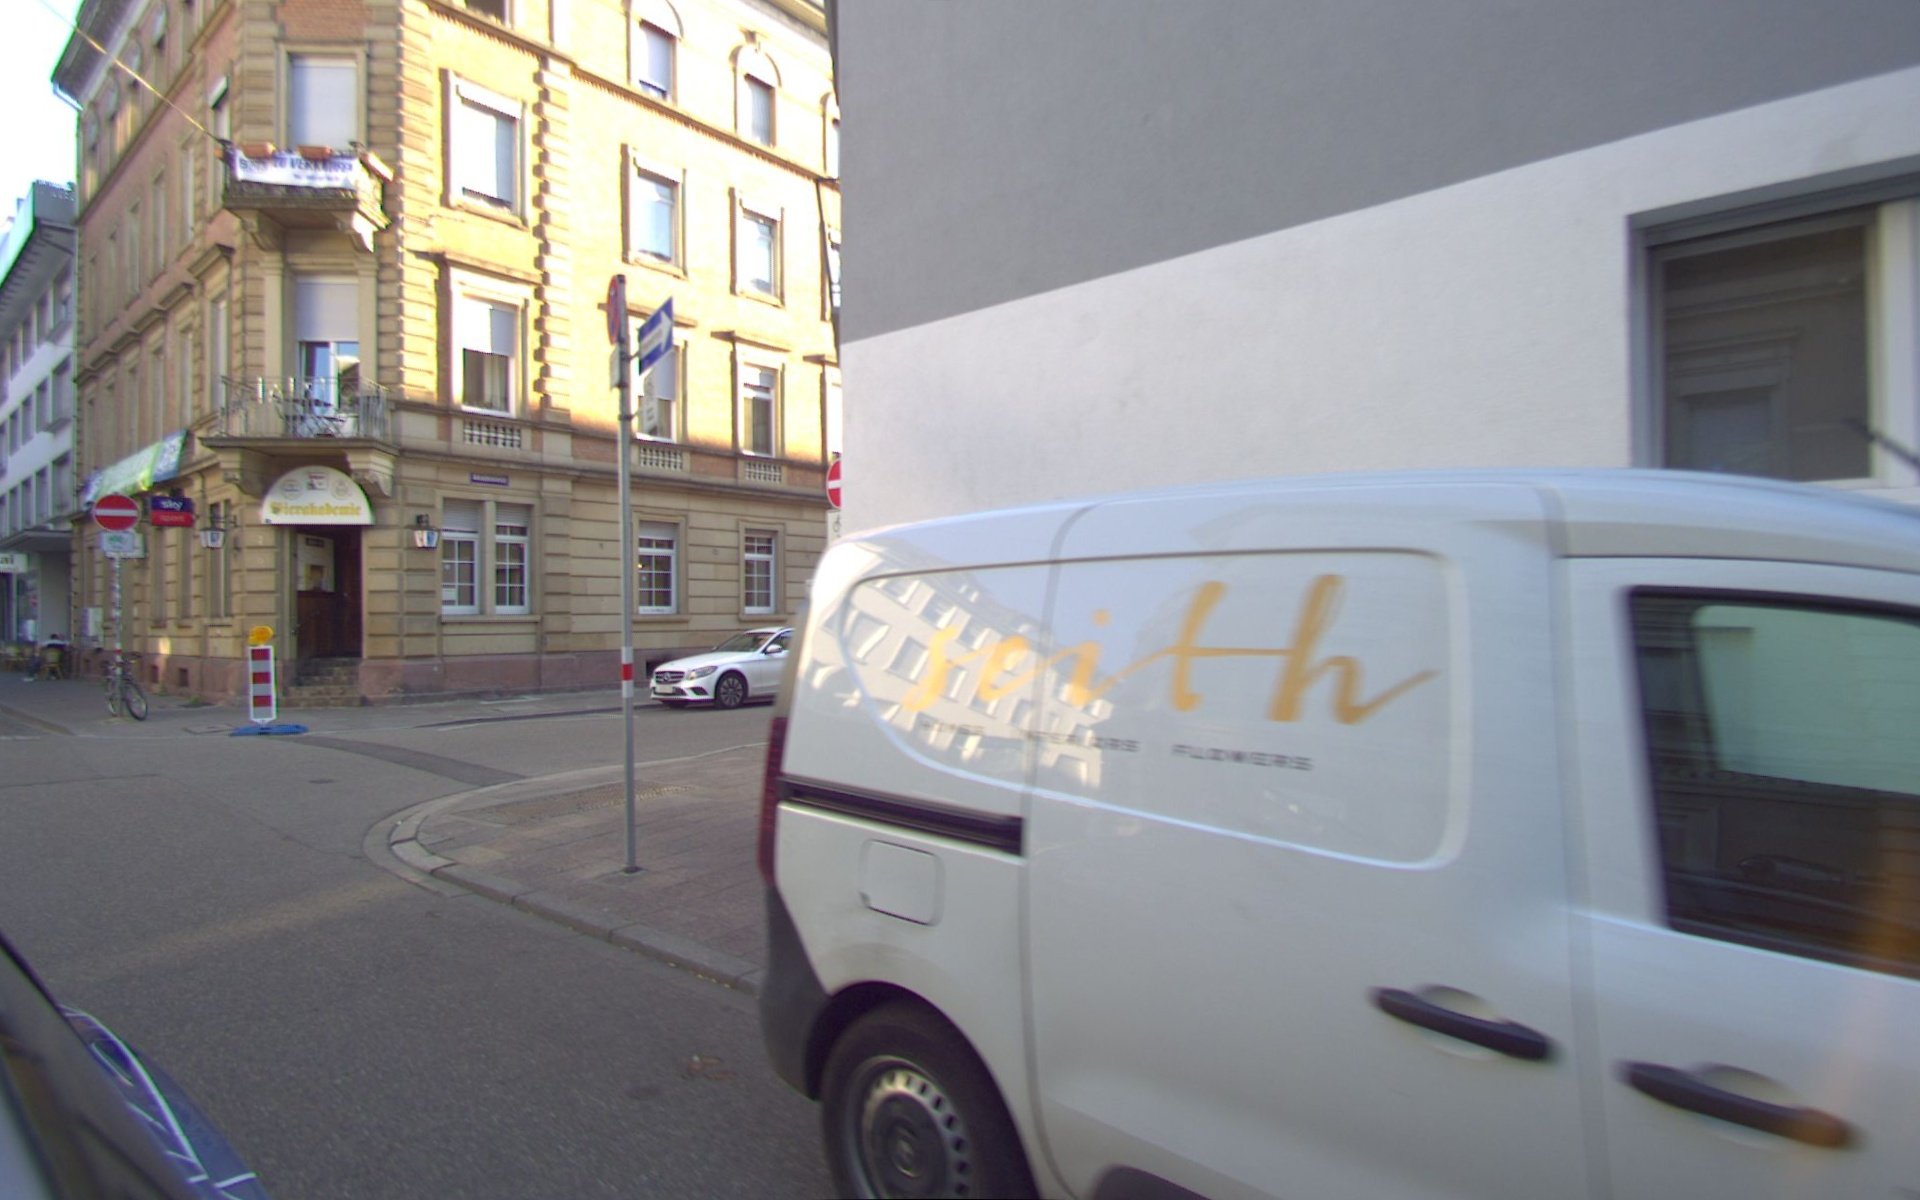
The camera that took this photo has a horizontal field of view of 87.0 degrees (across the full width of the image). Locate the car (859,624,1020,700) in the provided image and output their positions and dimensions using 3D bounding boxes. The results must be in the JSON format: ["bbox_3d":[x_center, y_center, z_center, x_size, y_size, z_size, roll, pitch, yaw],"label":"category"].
[{"bbox_3d":[-0.401,1.361,23.231,1.629,1.589,3.702,-3,-3,41],"label":"car"}]

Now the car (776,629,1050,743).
[{"bbox_3d":[-0.568,1.165,14.600,1.942,1.383,3.739,-5,-4,38],"label":"car"}]

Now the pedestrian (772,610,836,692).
[{"bbox_3d":[-3.455,1.117,22.396,0.982,1.755,1.005,-2,-2,34],"label":"pedestrian"}]

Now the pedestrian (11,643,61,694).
[{"bbox_3d":[-25.356,1.868,27.783,0.824,1.350,0.808,1,-2,-29],"label":"pedestrian"}]

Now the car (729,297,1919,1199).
[{"bbox_3d":[1.548,0.588,1.770,4.181,1.827,1.614,-3,-3,40],"label":"car"}]

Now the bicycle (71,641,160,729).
[{"bbox_3d":[-13.516,1.332,16.186,1.760,1.285,0.652,-2,1,37],"label":"bicycle"}]

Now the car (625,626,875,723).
[{"bbox_3d":[-3.855,1.323,19.239,1.997,1.576,4.448,-3,-2,38],"label":"car"}]
